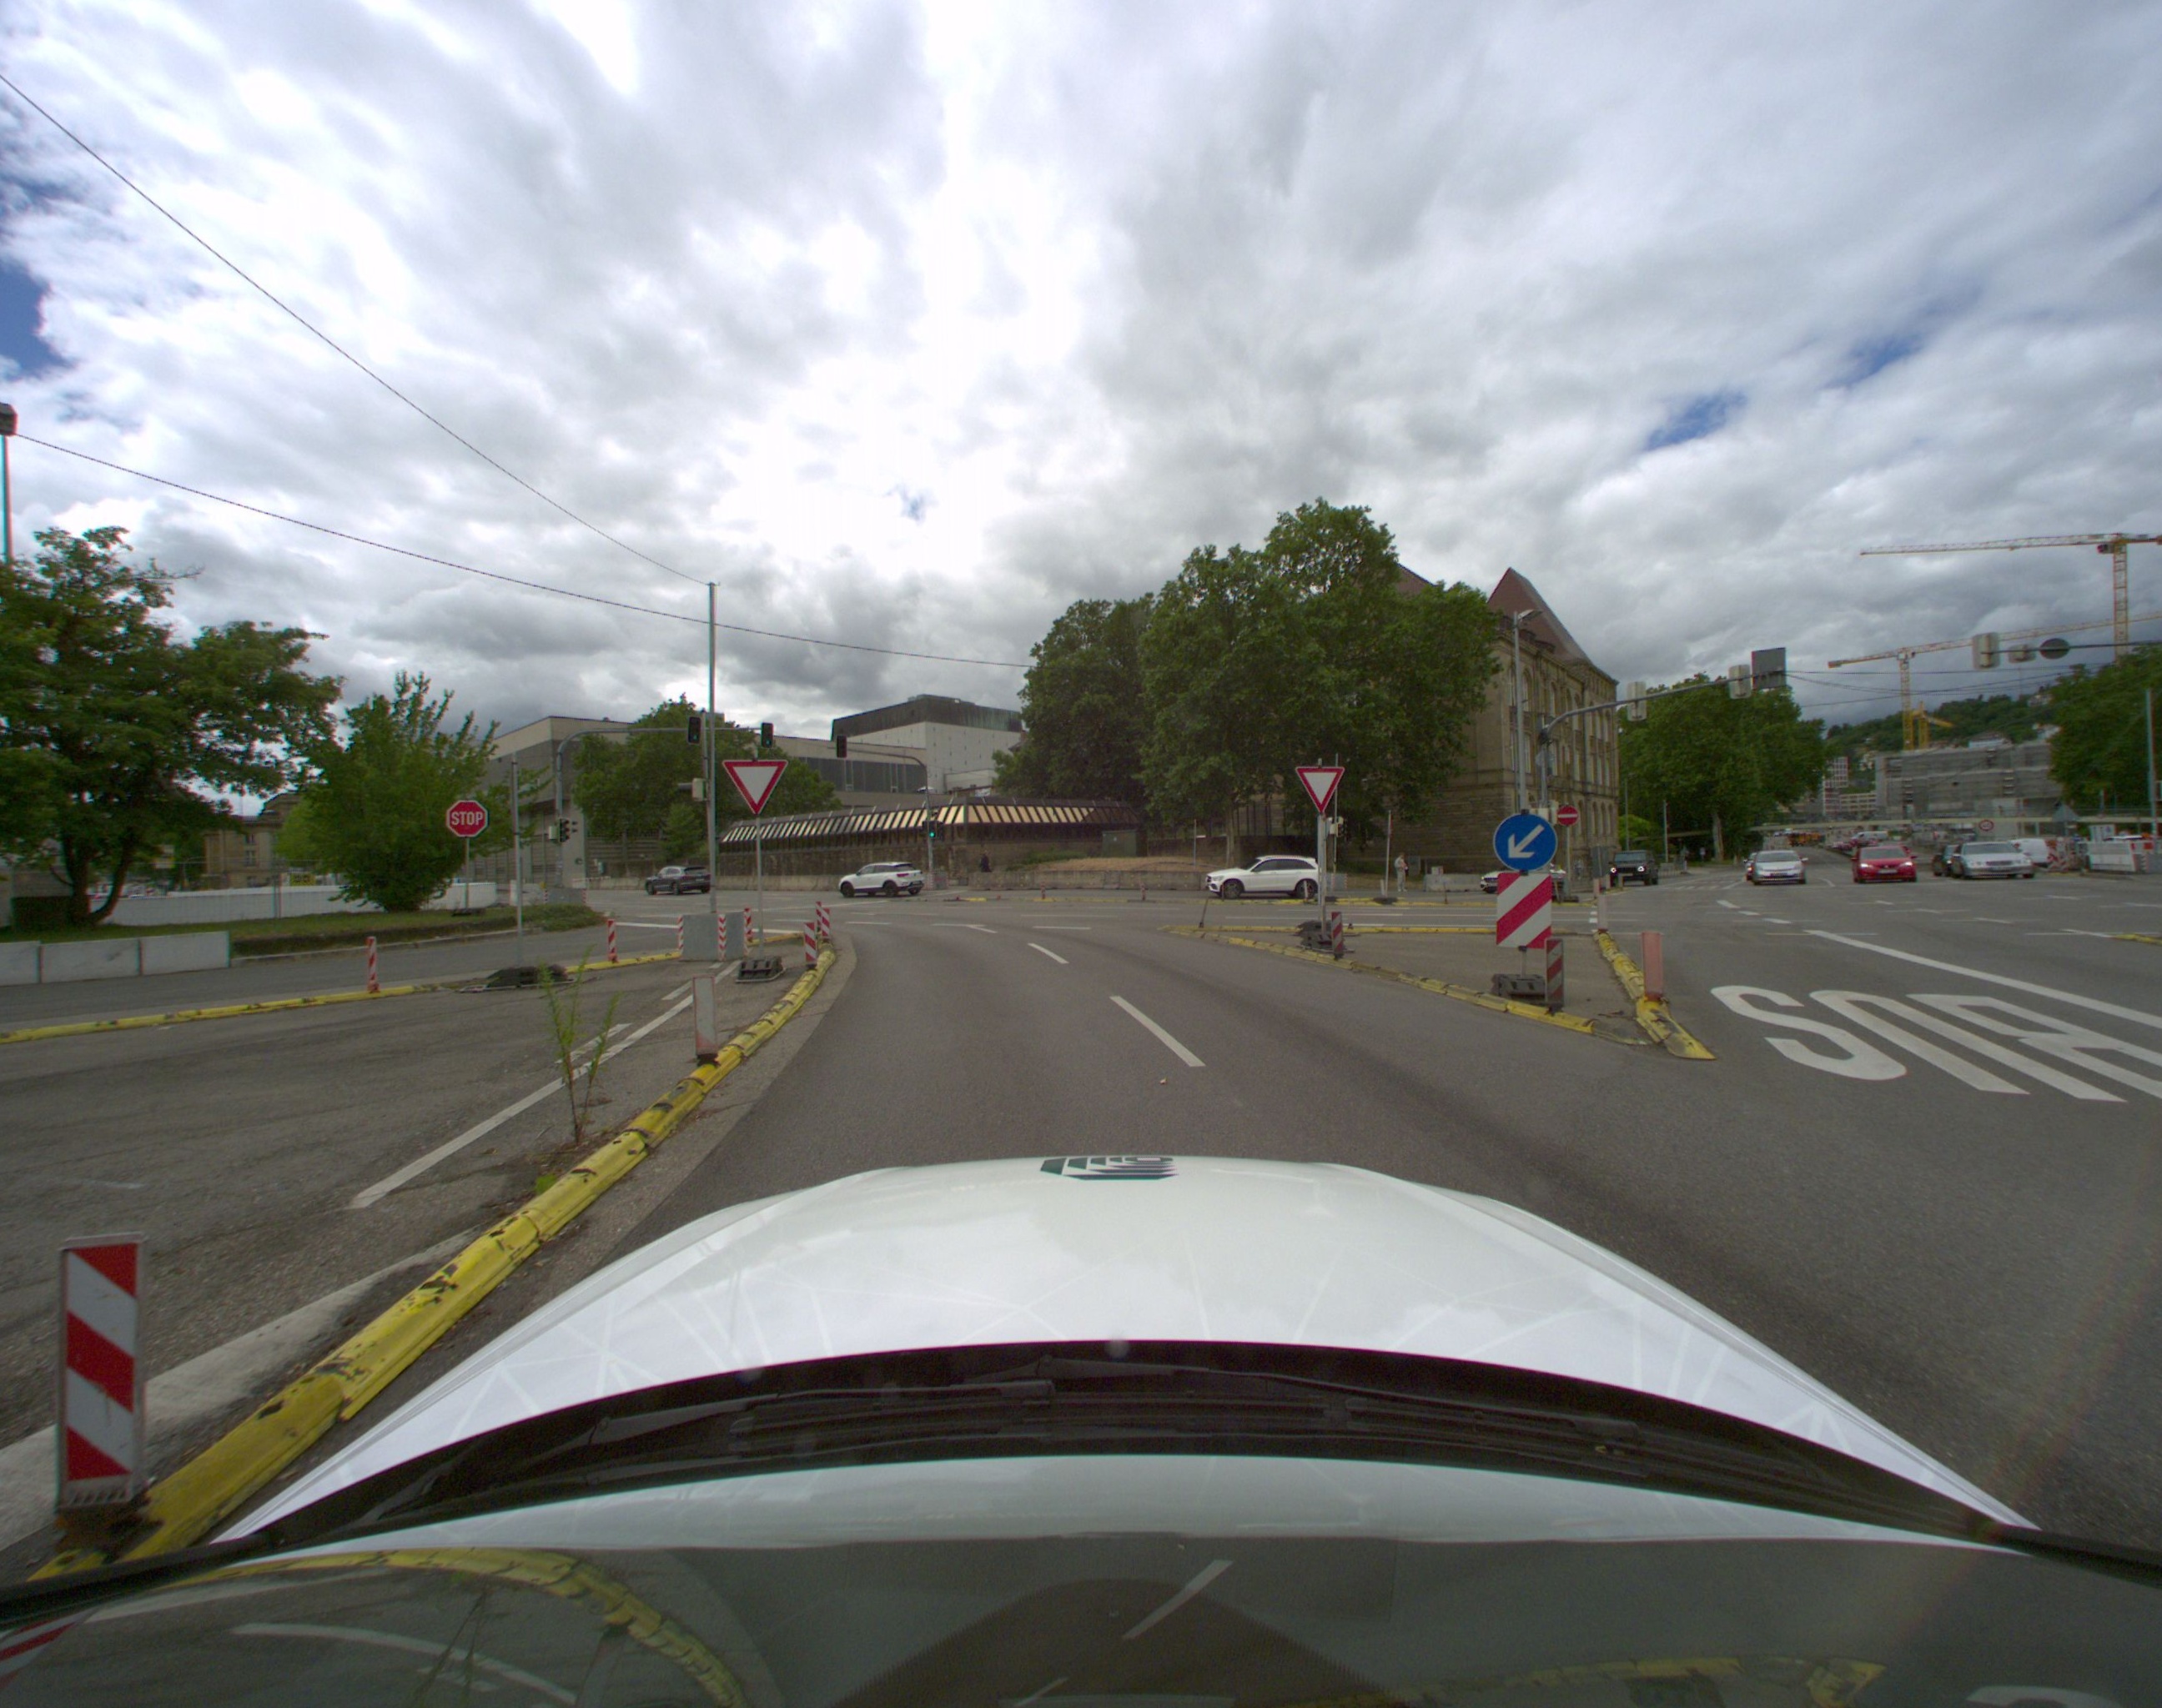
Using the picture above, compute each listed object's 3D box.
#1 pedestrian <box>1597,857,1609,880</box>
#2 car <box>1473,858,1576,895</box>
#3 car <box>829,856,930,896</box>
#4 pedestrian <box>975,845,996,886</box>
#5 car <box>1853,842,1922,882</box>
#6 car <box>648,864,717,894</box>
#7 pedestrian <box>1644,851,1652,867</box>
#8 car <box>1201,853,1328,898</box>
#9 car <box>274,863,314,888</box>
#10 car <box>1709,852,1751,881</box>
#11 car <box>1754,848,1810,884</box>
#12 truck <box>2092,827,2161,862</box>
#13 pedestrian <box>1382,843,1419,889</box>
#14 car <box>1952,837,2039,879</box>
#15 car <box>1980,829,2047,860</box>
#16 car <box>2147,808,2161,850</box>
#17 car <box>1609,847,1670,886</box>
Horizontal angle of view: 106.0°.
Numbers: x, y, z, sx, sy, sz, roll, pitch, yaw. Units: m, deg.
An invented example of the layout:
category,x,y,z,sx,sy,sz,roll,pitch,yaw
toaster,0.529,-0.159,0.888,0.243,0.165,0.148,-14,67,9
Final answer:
category,x,y,z,sx,sy,sz,roll,pitch,yaw
pedestrian,38.026,1.049,59.338,0.653,1.635,0.856,-2,-1,37
car,19.600,0.947,35.973,4.388,1.435,1.726,-2,1,-25
car,-9.274,1.001,37.475,4.277,1.567,1.767,-3,2,26
pedestrian,-4.756,0.556,40.466,0.843,2.014,0.624,-2,-1,8
car,32.117,0.293,32.497,1.669,1.435,3.468,-4,-1,41
car,-23.405,1.441,47.790,4.422,1.567,1.841,-1,2,38
pedestrian,59.752,0.553,85.834,0.653,1.635,0.856,-2,-1,37
car,7.074,0.799,31.624,4.526,1.642,1.816,0,1,-3
car,-82.646,2.244,85.463,5.456,2.374,2.607,-2,1,42
car,38.486,0.715,48.312,1.814,1.568,4.025,-3,-2,38
car,30.502,0.535,35.505,1.644,1.435,3.468,-4,-3,39
truck,54.929,-0.519,42.444,1.916,1.681,4.039,-1,2,38
pedestrian,14.489,0.542,36.962,1.186,2.013,1.204,-2,0,1
car,34.425,0.148,30.729,1.672,1.435,3.468,-4,-2,41
car,53.558,-0.544,46.836,1.741,1.687,3.666,-2,-1,37
car,42.734,-0.995,30.739,1.919,1.667,3.666,-2,-1,34
car,30.506,0.717,44.454,3.693,1.938,1.915,3,-5,-43
